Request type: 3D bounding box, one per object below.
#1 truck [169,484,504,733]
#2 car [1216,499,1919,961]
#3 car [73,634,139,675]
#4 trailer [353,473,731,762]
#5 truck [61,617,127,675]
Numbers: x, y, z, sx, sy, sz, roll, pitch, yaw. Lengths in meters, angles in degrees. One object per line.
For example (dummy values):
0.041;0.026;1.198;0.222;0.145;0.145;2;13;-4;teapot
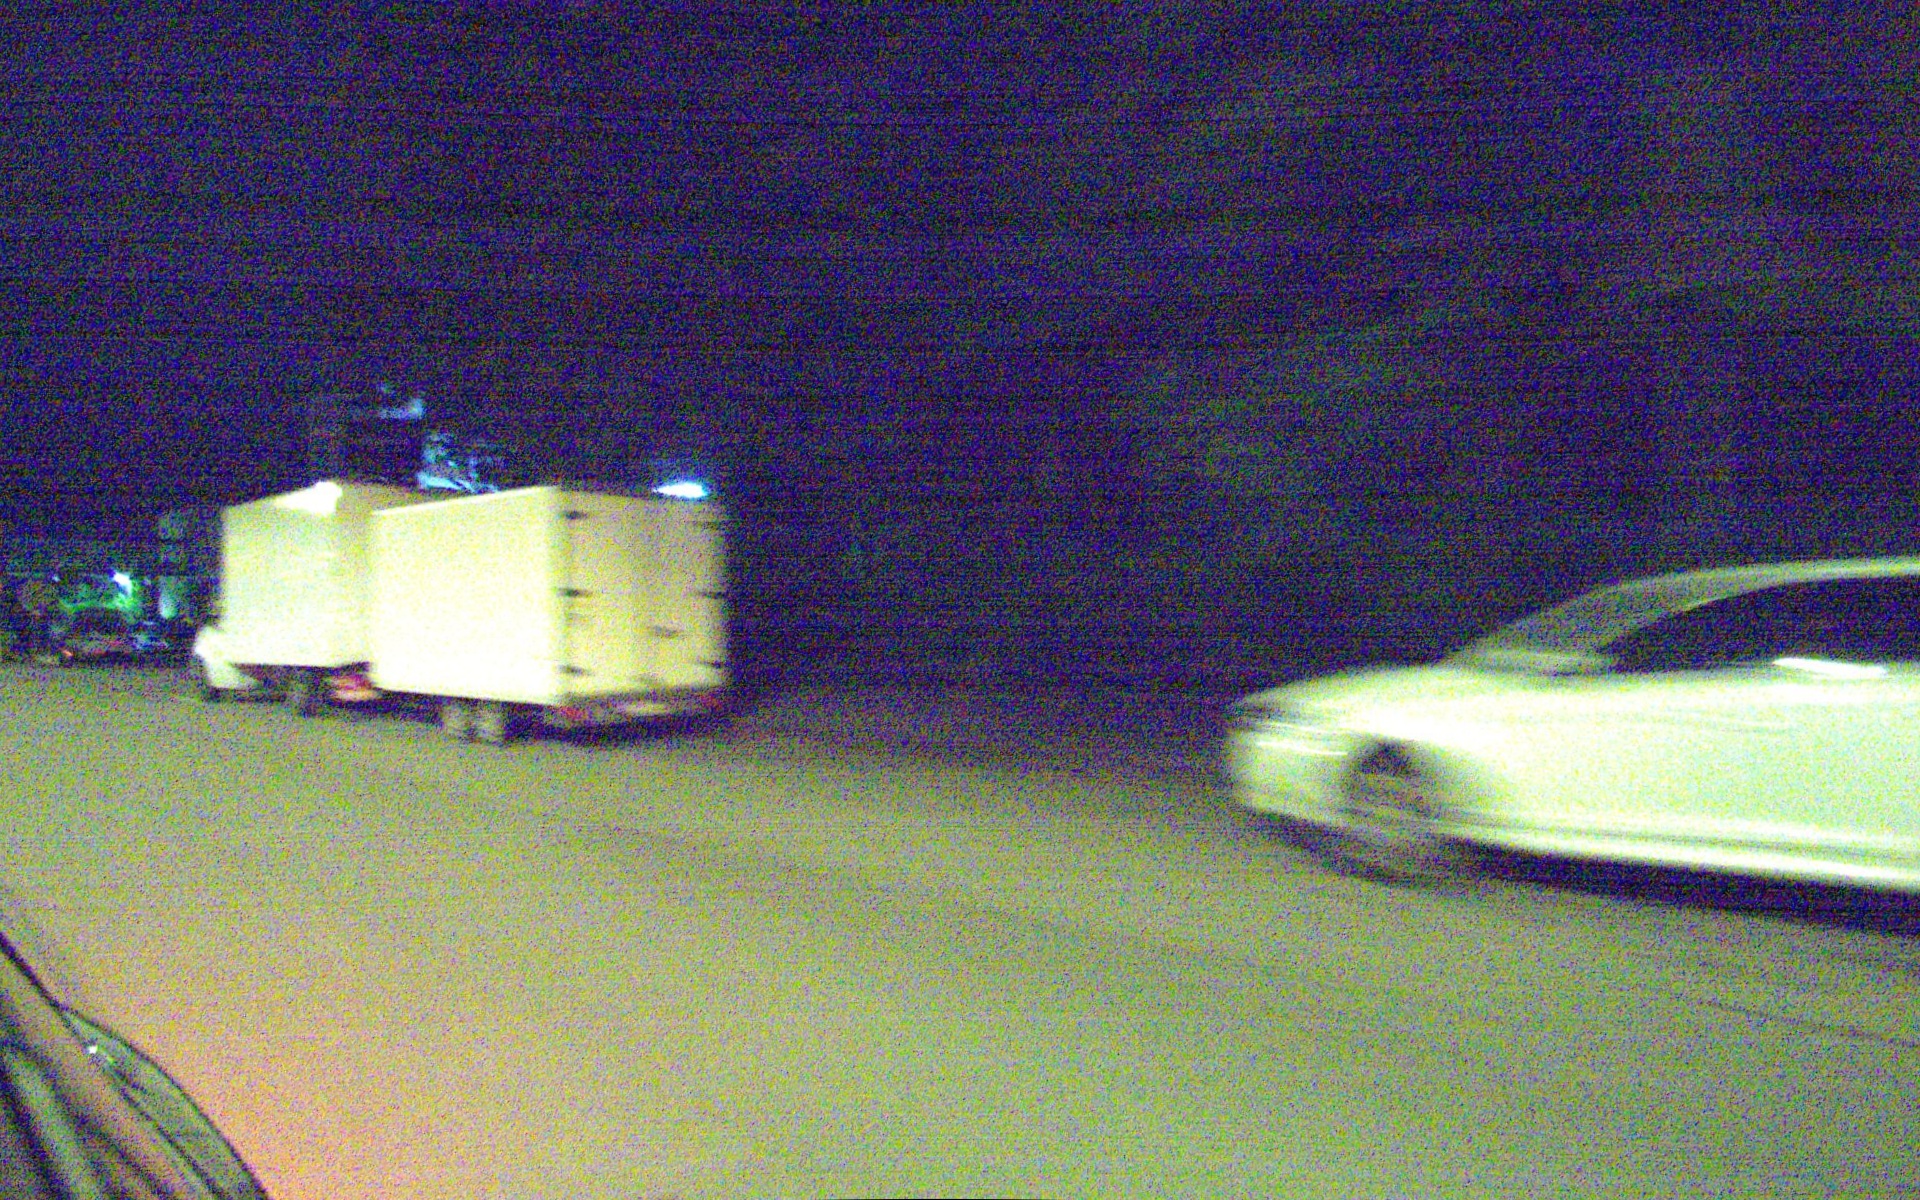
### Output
-10.346;0.185;16.448;7.223;3.268;2.350;-1;-1;39;truck
3.893;0.518;5.032;4.686;1.785;1.974;-1;-1;38;car
-36.524;2.282;43.255;1.836;1.652;4.003;2;-2;-44;car
-5.118;0.219;12.162;4.609;2.816;2.184;-1;-1;37;trailer
-42.368;2.182;49.416;2.107;2.633;7.106;2;-2;-43;truck
